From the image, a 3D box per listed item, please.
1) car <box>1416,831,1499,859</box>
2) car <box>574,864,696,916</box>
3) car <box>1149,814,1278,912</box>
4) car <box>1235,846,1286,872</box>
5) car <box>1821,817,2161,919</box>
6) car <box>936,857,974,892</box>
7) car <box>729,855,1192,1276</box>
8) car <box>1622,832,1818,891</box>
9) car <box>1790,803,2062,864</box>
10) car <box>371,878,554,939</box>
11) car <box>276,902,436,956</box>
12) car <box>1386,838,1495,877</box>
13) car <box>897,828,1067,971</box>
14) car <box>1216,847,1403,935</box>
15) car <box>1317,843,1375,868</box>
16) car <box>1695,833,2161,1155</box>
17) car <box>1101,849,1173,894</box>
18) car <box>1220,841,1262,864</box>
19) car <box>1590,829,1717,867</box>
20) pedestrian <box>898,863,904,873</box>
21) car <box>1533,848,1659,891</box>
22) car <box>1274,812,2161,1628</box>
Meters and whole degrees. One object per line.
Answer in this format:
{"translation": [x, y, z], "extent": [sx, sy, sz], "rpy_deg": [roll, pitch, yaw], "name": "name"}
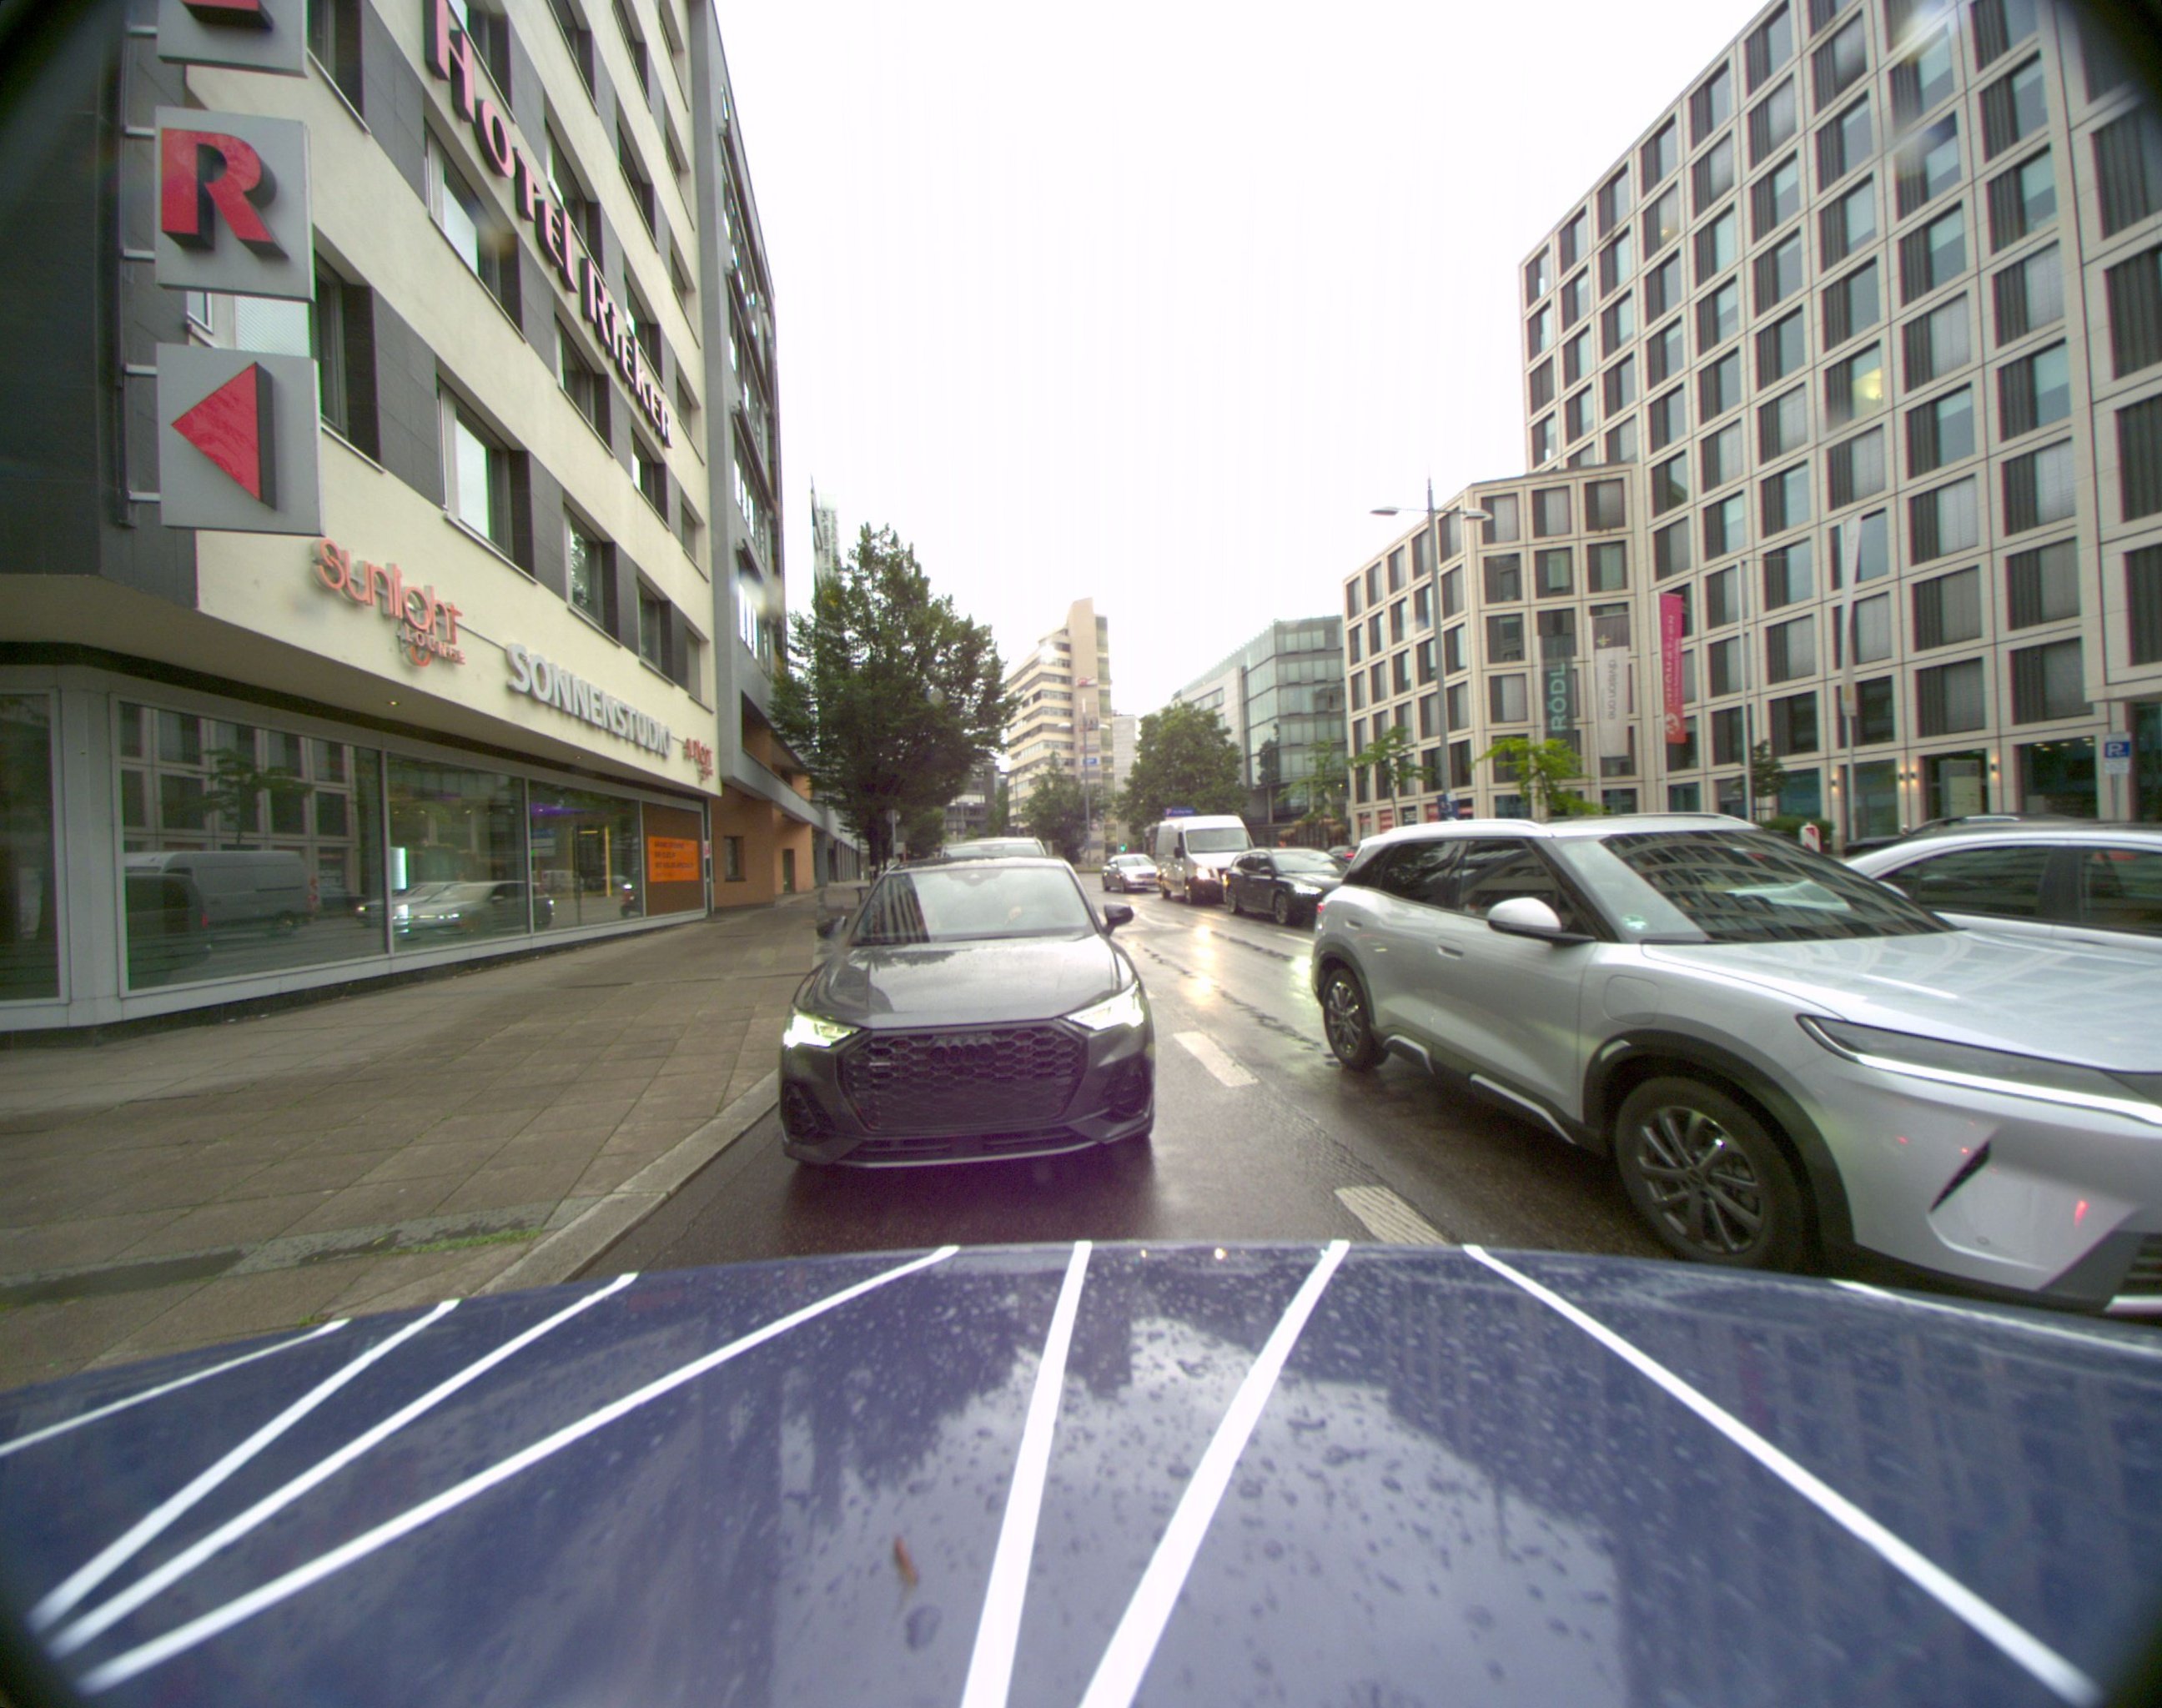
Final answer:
{"translation": [20.364, -0.468, 41.306], "extent": [1.703, 1.415, 4.369], "rpy_deg": [-1, 0, -12], "name": "car"}
{"translation": [-16.992, 1.310, 29.299], "extent": [1.999, 1.600, 4.924], "rpy_deg": [-3, 1, -4], "name": "car"}
{"translation": [3.652, 0.185, 22.266], "extent": [2.260, 2.371, 5.716], "rpy_deg": [-3, 1, -4], "name": "car"}
{"translation": [11.202, 0.297, 47.654], "extent": [1.703, 1.510, 3.551], "rpy_deg": [-1, 0, -12], "name": "car"}
{"translation": [16.946, 0.206, 14.309], "extent": [1.704, 1.565, 3.995], "rpy_deg": [-4, 1, -14], "name": "car"}
{"translation": [-5.939, 0.921, 36.045], "extent": [1.600, 1.460, 3.445], "rpy_deg": [-4, 1, -8], "name": "car"}
{"translation": [-0.626, 0.866, 5.327], "extent": [1.802, 1.543, 4.385], "rpy_deg": [-3, 1, -4], "name": "car"}
{"translation": [18.328, 0.190, 22.082], "extent": [1.703, 1.510, 4.187], "rpy_deg": [-1, 0, -12], "name": "car"}
{"translation": [24.408, -0.537, 22.328], "extent": [1.703, 1.560, 5.178], "rpy_deg": [-1, 0, -12], "name": "car"}
{"translation": [-16.249, 1.377, 20.267], "extent": [1.721, 1.187, 3.998], "rpy_deg": [-3, 1, -4], "name": "car"}
{"translation": [-23.713, 2.417, 24.981], "extent": [3.391, 1.322, 1.564], "rpy_deg": [-4, 1, -15], "name": "car"}
{"translation": [14.017, 0.133, 29.892], "extent": [1.703, 1.415, 4.135], "rpy_deg": [-1, 0, -12], "name": "car"}
{"translation": [-1.427, 0.588, 13.138], "extent": [2.059, 1.881, 5.048], "rpy_deg": [-3, 1, 1], "name": "car"}
{"translation": [4.381, 0.620, 15.343], "extent": [1.906, 1.393, 4.237], "rpy_deg": [-4, 1, -9], "name": "car"}
{"translation": [16.738, 0.080, 48.135], "extent": [1.704, 1.510, 3.683], "rpy_deg": [-1, 0, -15], "name": "car"}
{"translation": [5.772, 0.631, 3.676], "extent": [1.738, 1.396, 4.380], "rpy_deg": [-4, 1, -6], "name": "car"}
{"translation": [2.075, 0.595, 29.205], "extent": [1.786, 1.499, 3.996], "rpy_deg": [-4, 1, -10], "name": "car"}
{"translation": [15.337, -0.120, 73.072], "extent": [2.000, 2.002, 4.910], "rpy_deg": [-4, 1, -13], "name": "car"}
{"translation": [23.061, -0.240, 30.811], "extent": [1.703, 1.415, 3.951], "rpy_deg": [-1, 0, -12], "name": "car"}
{"translation": [-29.281, 2.251, 123.489], "extent": [0.654, 1.589, 1.057], "rpy_deg": [-4, 2, -18], "name": "pedestrian"}
{"translation": [19.798, 0.565, 29.441], "extent": [1.703, 1.510, 3.967], "rpy_deg": [-1, 0, -12], "name": "car"}
{"translation": [2.673, 0.722, 3.760], "extent": [1.814, 1.651, 4.167], "rpy_deg": [-4, 1, -8], "name": "car"}
